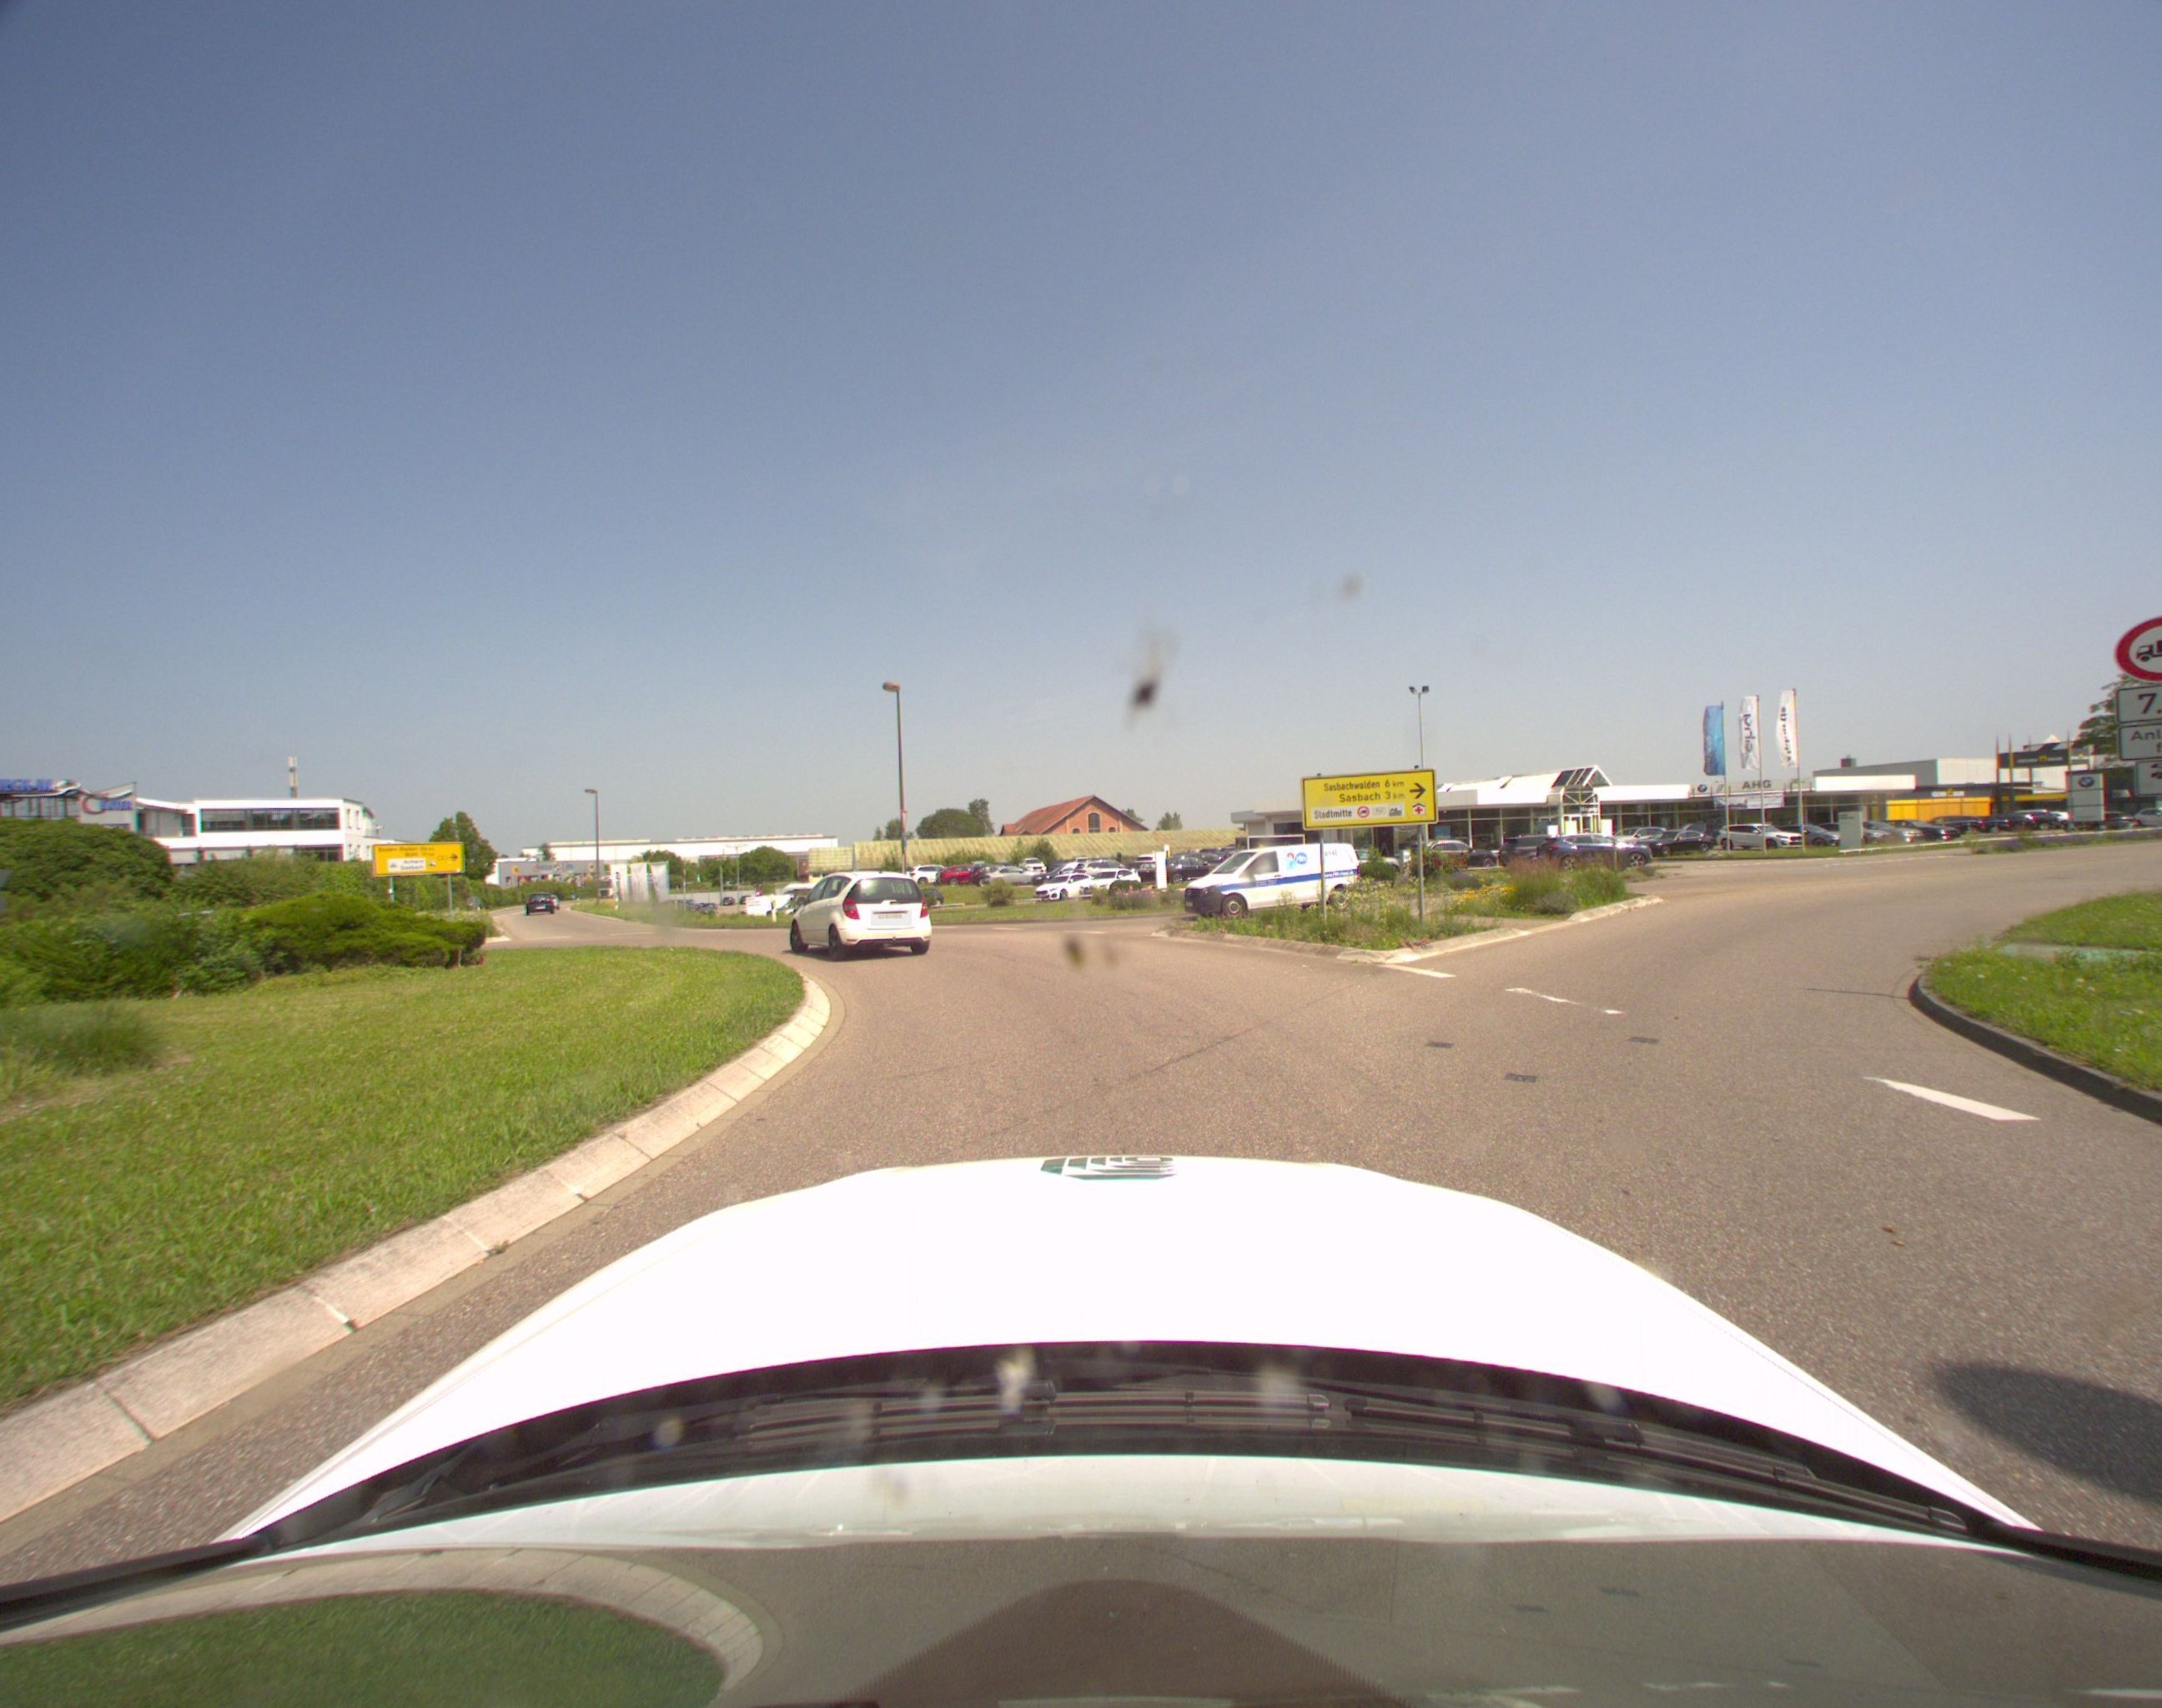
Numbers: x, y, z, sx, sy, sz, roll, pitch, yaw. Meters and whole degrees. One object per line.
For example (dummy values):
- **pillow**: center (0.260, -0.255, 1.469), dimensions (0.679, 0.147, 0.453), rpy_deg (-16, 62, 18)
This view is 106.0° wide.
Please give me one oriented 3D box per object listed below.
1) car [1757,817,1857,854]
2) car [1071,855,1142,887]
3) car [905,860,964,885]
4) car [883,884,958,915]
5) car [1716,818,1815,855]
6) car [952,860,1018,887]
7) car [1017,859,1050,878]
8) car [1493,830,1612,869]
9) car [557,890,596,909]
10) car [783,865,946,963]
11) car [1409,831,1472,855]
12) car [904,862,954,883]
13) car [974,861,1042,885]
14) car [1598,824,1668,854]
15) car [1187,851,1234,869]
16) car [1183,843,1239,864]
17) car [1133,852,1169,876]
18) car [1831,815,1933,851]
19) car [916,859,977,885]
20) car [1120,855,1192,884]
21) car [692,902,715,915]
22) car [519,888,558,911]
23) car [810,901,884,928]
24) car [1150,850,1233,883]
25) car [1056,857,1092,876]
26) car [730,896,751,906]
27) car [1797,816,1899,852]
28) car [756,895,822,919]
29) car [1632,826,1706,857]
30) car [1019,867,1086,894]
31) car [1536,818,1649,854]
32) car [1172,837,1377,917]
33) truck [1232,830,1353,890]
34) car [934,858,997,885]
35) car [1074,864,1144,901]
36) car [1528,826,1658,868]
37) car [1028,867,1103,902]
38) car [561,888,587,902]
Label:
- **car**: center (45.622, -1.136, 51.279), dimensions (1.998, 2.014, 4.237), rpy_deg (-1, -2, -16)
- **car**: center (1.640, 1.070, 52.121), dimensions (4.010, 1.750, 1.936), rpy_deg (-4, 0, -20)
- **car**: center (-12.006, 1.523, 66.638), dimensions (4.469, 1.747, 1.826), rpy_deg (-3, -1, -20)
- **car**: center (-10.220, 2.896, 52.257), dimensions (1.760, 1.421, 4.603), rpy_deg (-7, -2, 37)
- **car**: center (42.354, -1.041, 50.482), dimensions (1.998, 2.014, 4.237), rpy_deg (-1, -2, -16)
- **car**: center (-7.092, 1.421, 59.928), dimensions (4.469, 1.634, 1.936), rpy_deg (-3, -1, -20)
- **car**: center (-4.394, 1.367, 74.869), dimensions (1.922, 1.596, 4.278), rpy_deg (-3, -1, -18)
- **car**: center (21.762, -0.200, 37.754), dimensions (4.332, 1.512, 1.916), rpy_deg (-3, 0, 12)
- **car**: center (-55.409, 4.977, 89.546), dimensions (1.989, 2.014, 3.995), rpy_deg (-2, -2, -3)
- **car**: center (-4.343, 1.045, 15.944), dimensions (1.795, 1.603, 3.850), rpy_deg (-1, 0, -36)
- **car**: center (27.263, -0.818, 61.858), dimensions (4.035, 1.586, 1.900), rpy_deg (-3, 0, -15)
- **car**: center (-12.898, 1.589, 68.910), dimensions (3.889, 1.532, 1.756), rpy_deg (-3, -1, -20)
- **car**: center (-5.205, 1.346, 58.338), dimensions (4.469, 1.500, 1.936), rpy_deg (-3, 0, -20)
- **car**: center (34.450, -0.934, 50.853), dimensions (3.695, 1.654, 1.572), rpy_deg (-2, -2, -17)
- **car**: center (10.328, 0.516, 65.188), dimensions (3.301, 1.275, 1.668), rpy_deg (-3, 0, 45)
- **car**: center (11.432, -0.048, 71.689), dimensions (4.462, 1.522, 1.939), rpy_deg (-3, -1, -16)
- **car**: center (5.303, 0.730, 61.550), dimensions (1.639, 1.586, 4.289), rpy_deg (-3, 0, 19)
- **car**: center (51.582, -1.315, 52.556), dimensions (1.998, 2.014, 4.237), rpy_deg (-1, -2, -16)
- **car**: center (-10.672, 1.438, 64.546), dimensions (4.469, 1.747, 1.826), rpy_deg (-3, -1, -20)
- **car**: center (4.698, 0.943, 51.101), dimensions (4.010, 1.499, 1.936), rpy_deg (-4, 1, -20)
- **car**: center (-46.457, 6.731, 100.411), dimensions (2.142, 1.457, 4.501), rpy_deg (-1, -2, -20)
- **car**: center (-37.666, 3.175, 56.618), dimensions (1.840, 1.470, 4.368), rpy_deg (-1, -2, -29)
- **car**: center (-17.457, 4.490, 60.888), dimensions (4.807, 1.508, 1.976), rpy_deg (-4, -3, -39)
- **car**: center (6.540, 0.743, 48.262), dimensions (4.428, 1.500, 1.936), rpy_deg (-5, -1, -20)
- **car**: center (-0.671, 1.189, 76.604), dimensions (2.194, 1.596, 4.278), rpy_deg (-3, -1, -18)
- **car**: center (-53.829, 7.404, 128.782), dimensions (1.992, 1.398, 3.988), rpy_deg (-2, -2, -8)
- **car**: center (48.580, -1.232, 51.705), dimensions (1.998, 2.014, 4.237), rpy_deg (-1, -2, -16)
- **car**: center (-23.656, 4.254, 66.010), dimensions (4.520, 1.640, 2.121), rpy_deg (-1, -4, -43)
- **car**: center (34.541, -0.759, 47.846), dimensions (3.695, 1.654, 1.572), rpy_deg (-2, -2, -17)
- **car**: center (-1.901, 1.707, 53.313), dimensions (4.002, 1.526, 1.940), rpy_deg (-3, 0, -14)
- **car**: center (25.554, -0.870, 40.829), dimensions (4.332, 1.512, 1.916), rpy_deg (-3, 0, 12)
- **car**: center (5.311, 0.615, 22.535), dimensions (5.221, 1.938, 1.851), rpy_deg (-2, -2, -15)
- **truck**: center (10.728, 0.290, 41.436), dimensions (5.618, 2.665, 1.940), rpy_deg (-3, 0, -15)
- **car**: center (-8.883, 1.318, 62.510), dimensions (4.469, 1.747, 1.936), rpy_deg (-3, -1, -20)
- **car**: center (1.611, 1.547, 45.385), dimensions (1.745, 1.570, 4.696), rpy_deg (-4, 2, 31)
- **car**: center (22.121, -0.296, 35.362), dimensions (4.332, 1.512, 1.916), rpy_deg (-3, 0, 12)
- **car**: center (-0.849, 1.718, 46.592), dimensions (1.745, 1.570, 4.607), rpy_deg (-5, -1, 36)
- **car**: center (-77.593, 6.311, 124.718), dimensions (1.993, 2.014, 3.986), rpy_deg (-2, -2, -10)
